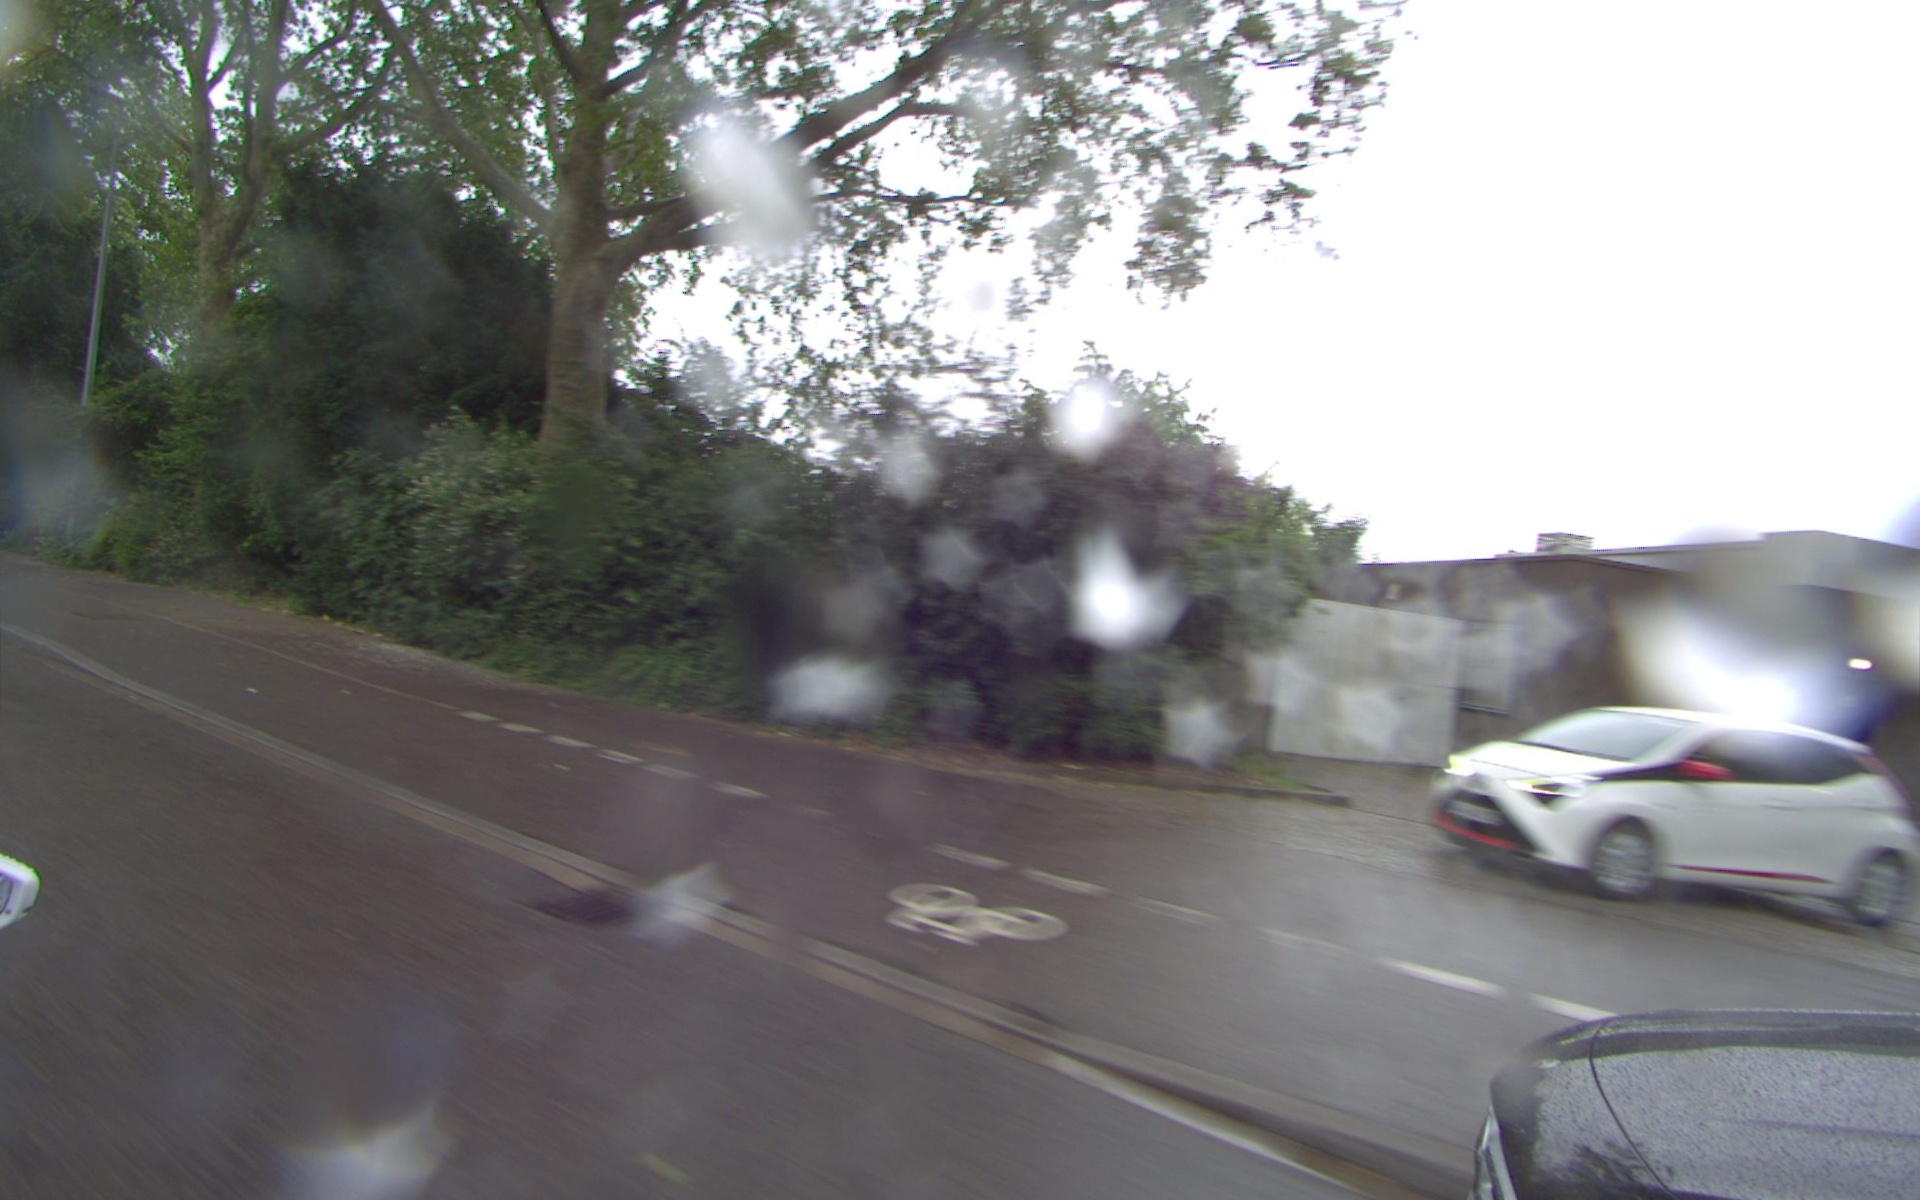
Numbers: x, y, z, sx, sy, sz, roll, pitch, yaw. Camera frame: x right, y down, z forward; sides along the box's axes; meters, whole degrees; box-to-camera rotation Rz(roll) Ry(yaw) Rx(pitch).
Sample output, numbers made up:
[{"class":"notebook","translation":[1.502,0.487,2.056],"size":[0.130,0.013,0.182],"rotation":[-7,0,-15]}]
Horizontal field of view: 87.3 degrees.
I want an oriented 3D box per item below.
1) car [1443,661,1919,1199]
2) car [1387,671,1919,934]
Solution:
[{"class":"car","translation":[2.881,1.117,0.918],"size":[4.345,1.548,1.820],"rotation":[6,-1,28]},{"class":"car","translation":[5.544,1.556,8.042],"size":[3.497,1.448,1.607],"rotation":[8,-2,-9]}]
